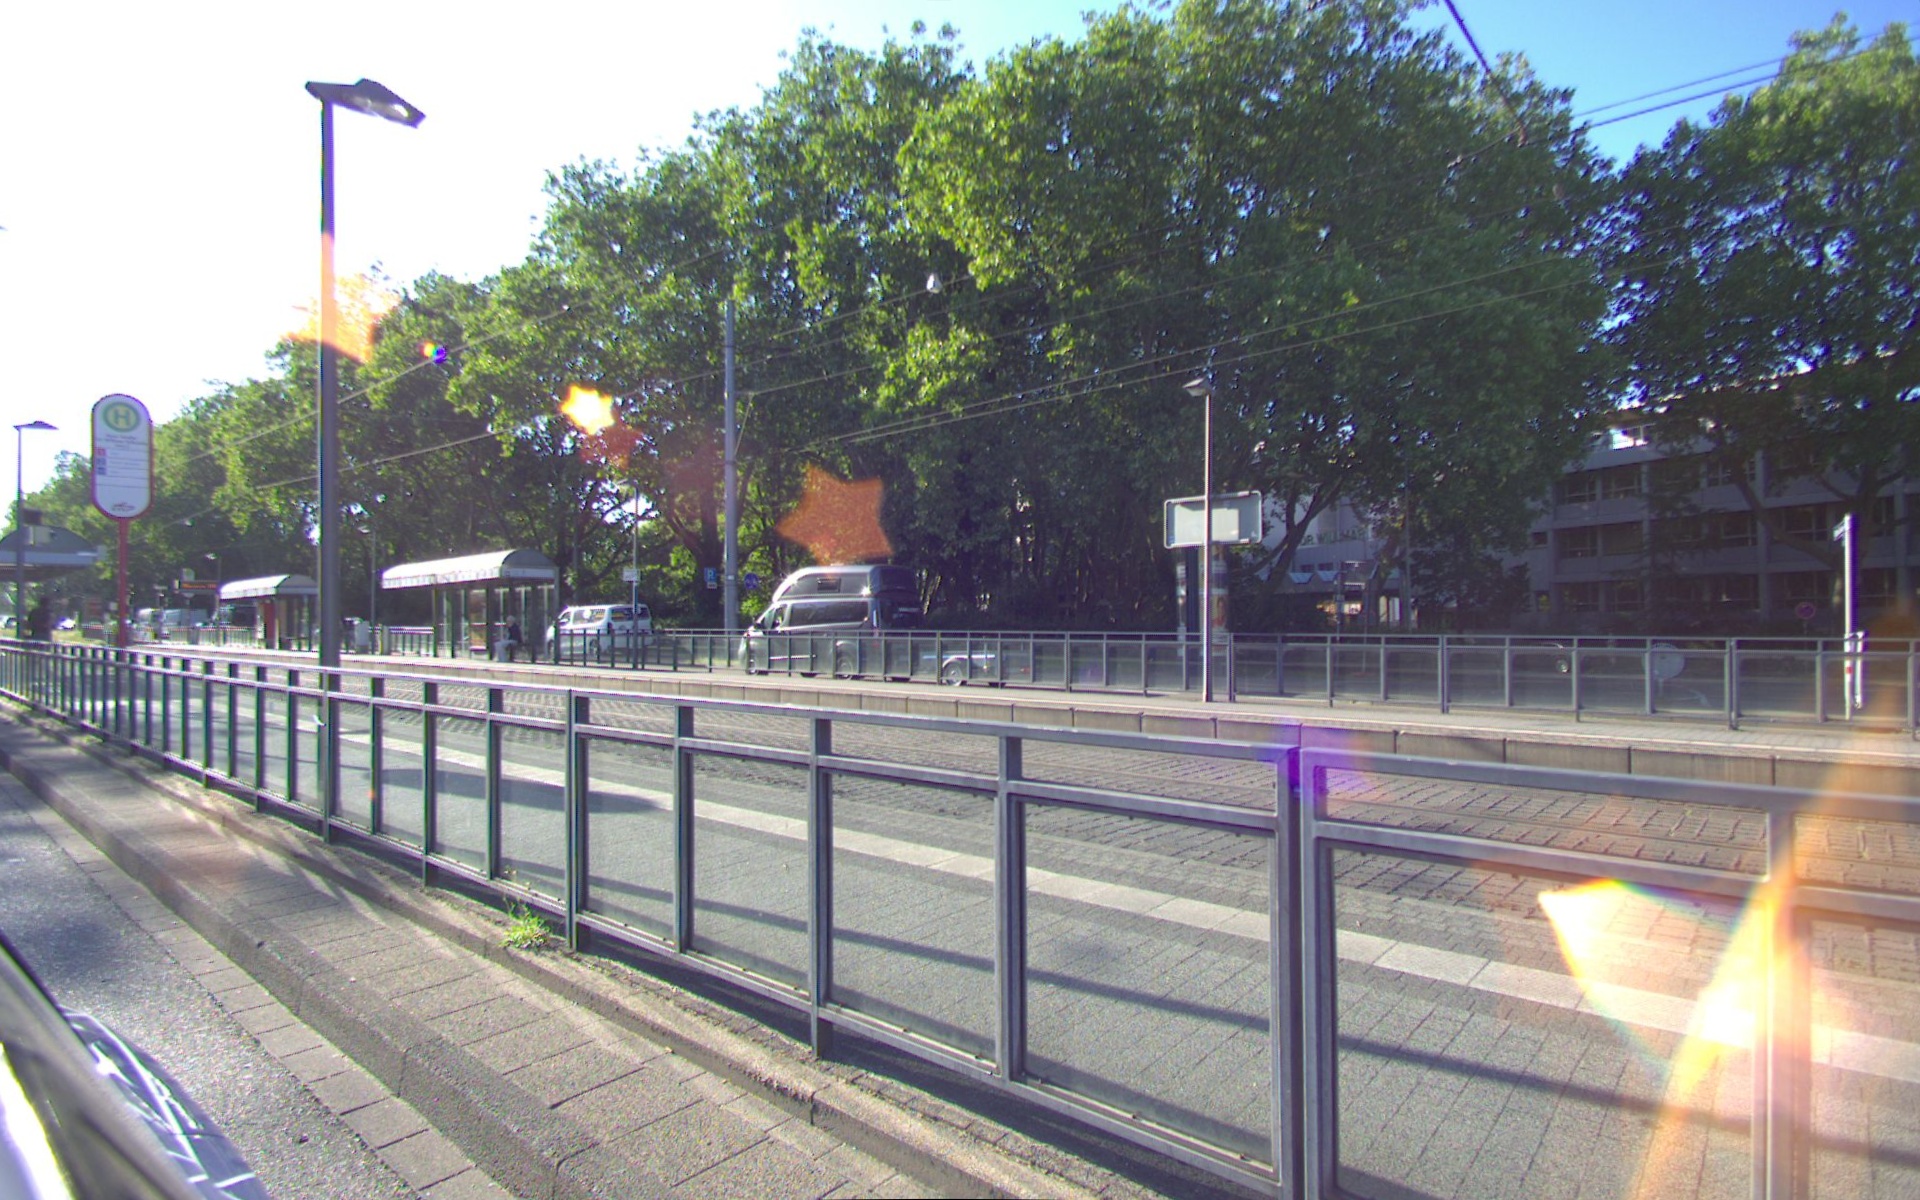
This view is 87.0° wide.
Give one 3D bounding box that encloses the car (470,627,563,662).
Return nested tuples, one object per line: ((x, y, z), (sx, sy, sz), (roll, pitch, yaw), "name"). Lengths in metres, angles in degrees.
((-18.218, 1.815, 41.478), (4.312, 1.302, 1.752), (-1, -3, 40), "car")

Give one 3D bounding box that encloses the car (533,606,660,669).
((-13.351, 1.337, 37.064), (5.086, 2.140, 2.046), (-1, -3, 40), "car")

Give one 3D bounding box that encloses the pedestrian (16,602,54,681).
((-20.207, 0.893, 22.104), (0.588, 1.690, 0.590), (0, 0, -44), "pedestrian")

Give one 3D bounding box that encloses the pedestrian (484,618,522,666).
((-12.932, 1.183, 28.628), (0.756, 1.335, 0.663), (-1, -4, 40), "pedestrian")

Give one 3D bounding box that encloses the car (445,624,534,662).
((-20.073, 1.806, 43.110), (4.338, 1.522, 1.776), (-1, -3, 40), "car")

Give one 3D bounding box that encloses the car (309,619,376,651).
((-34.067, 1.932, 55.816), (3.968, 1.664, 1.884), (0, -3, 38), "car")

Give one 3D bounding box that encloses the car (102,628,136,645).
((-79.275, 3.438, 95.389), (3.879, 1.567, 1.721), (-1, -3, 40), "car")

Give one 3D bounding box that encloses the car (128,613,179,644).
((-69.642, 2.419, 87.319), (6.045, 2.540, 2.161), (-1, -3, 40), "car")

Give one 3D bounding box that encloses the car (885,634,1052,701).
((0.172, 1.363, 21.339), (2.909, 1.171, 2.047), (0, 0, 39), "car")

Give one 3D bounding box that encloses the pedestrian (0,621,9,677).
((-23.071, 1.177, 24.020), (0.593, 1.318, 0.671), (-1, 0, 42), "pedestrian")

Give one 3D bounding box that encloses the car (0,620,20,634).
((-133.883, 3.747, 142.309), (4.391, 1.854, 1.808), (-1, -3, 40), "car")

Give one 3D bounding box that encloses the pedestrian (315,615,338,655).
((-24.945, 1.382, 39.853), (0.626, 1.555, 0.586), (-1, 0, 42), "pedestrian")

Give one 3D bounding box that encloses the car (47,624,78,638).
((-97.443, 3.326, 109.878), (4.320, 1.448, 1.808), (-1, -3, 40), "car")

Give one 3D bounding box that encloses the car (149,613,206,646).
((-63.629, 2.389, 82.290), (6.264, 2.540, 2.162), (0, -3, 38), "car")

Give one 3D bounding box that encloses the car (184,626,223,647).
((-58.530, 2.828, 78.309), (3.262, 1.524, 1.636), (-1, -3, 39), "car")

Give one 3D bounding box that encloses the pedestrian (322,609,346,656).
((-24.355, 1.263, 39.363), (0.650, 1.785, 0.641), (-1, 0, 44), "pedestrian")

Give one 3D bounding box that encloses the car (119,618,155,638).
((-74.657, 2.529, 91.783), (3.879, 1.741, 1.721), (-1, -3, 40), "car")

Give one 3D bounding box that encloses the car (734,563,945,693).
((-2.927, 0.589, 23.889), (5.025, 2.763, 2.047), (0, 0, 39), "car")

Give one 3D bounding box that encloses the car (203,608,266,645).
((-52.048, 1.881, 72.578), (6.027, 2.540, 2.161), (-1, -3, 40), "car")
